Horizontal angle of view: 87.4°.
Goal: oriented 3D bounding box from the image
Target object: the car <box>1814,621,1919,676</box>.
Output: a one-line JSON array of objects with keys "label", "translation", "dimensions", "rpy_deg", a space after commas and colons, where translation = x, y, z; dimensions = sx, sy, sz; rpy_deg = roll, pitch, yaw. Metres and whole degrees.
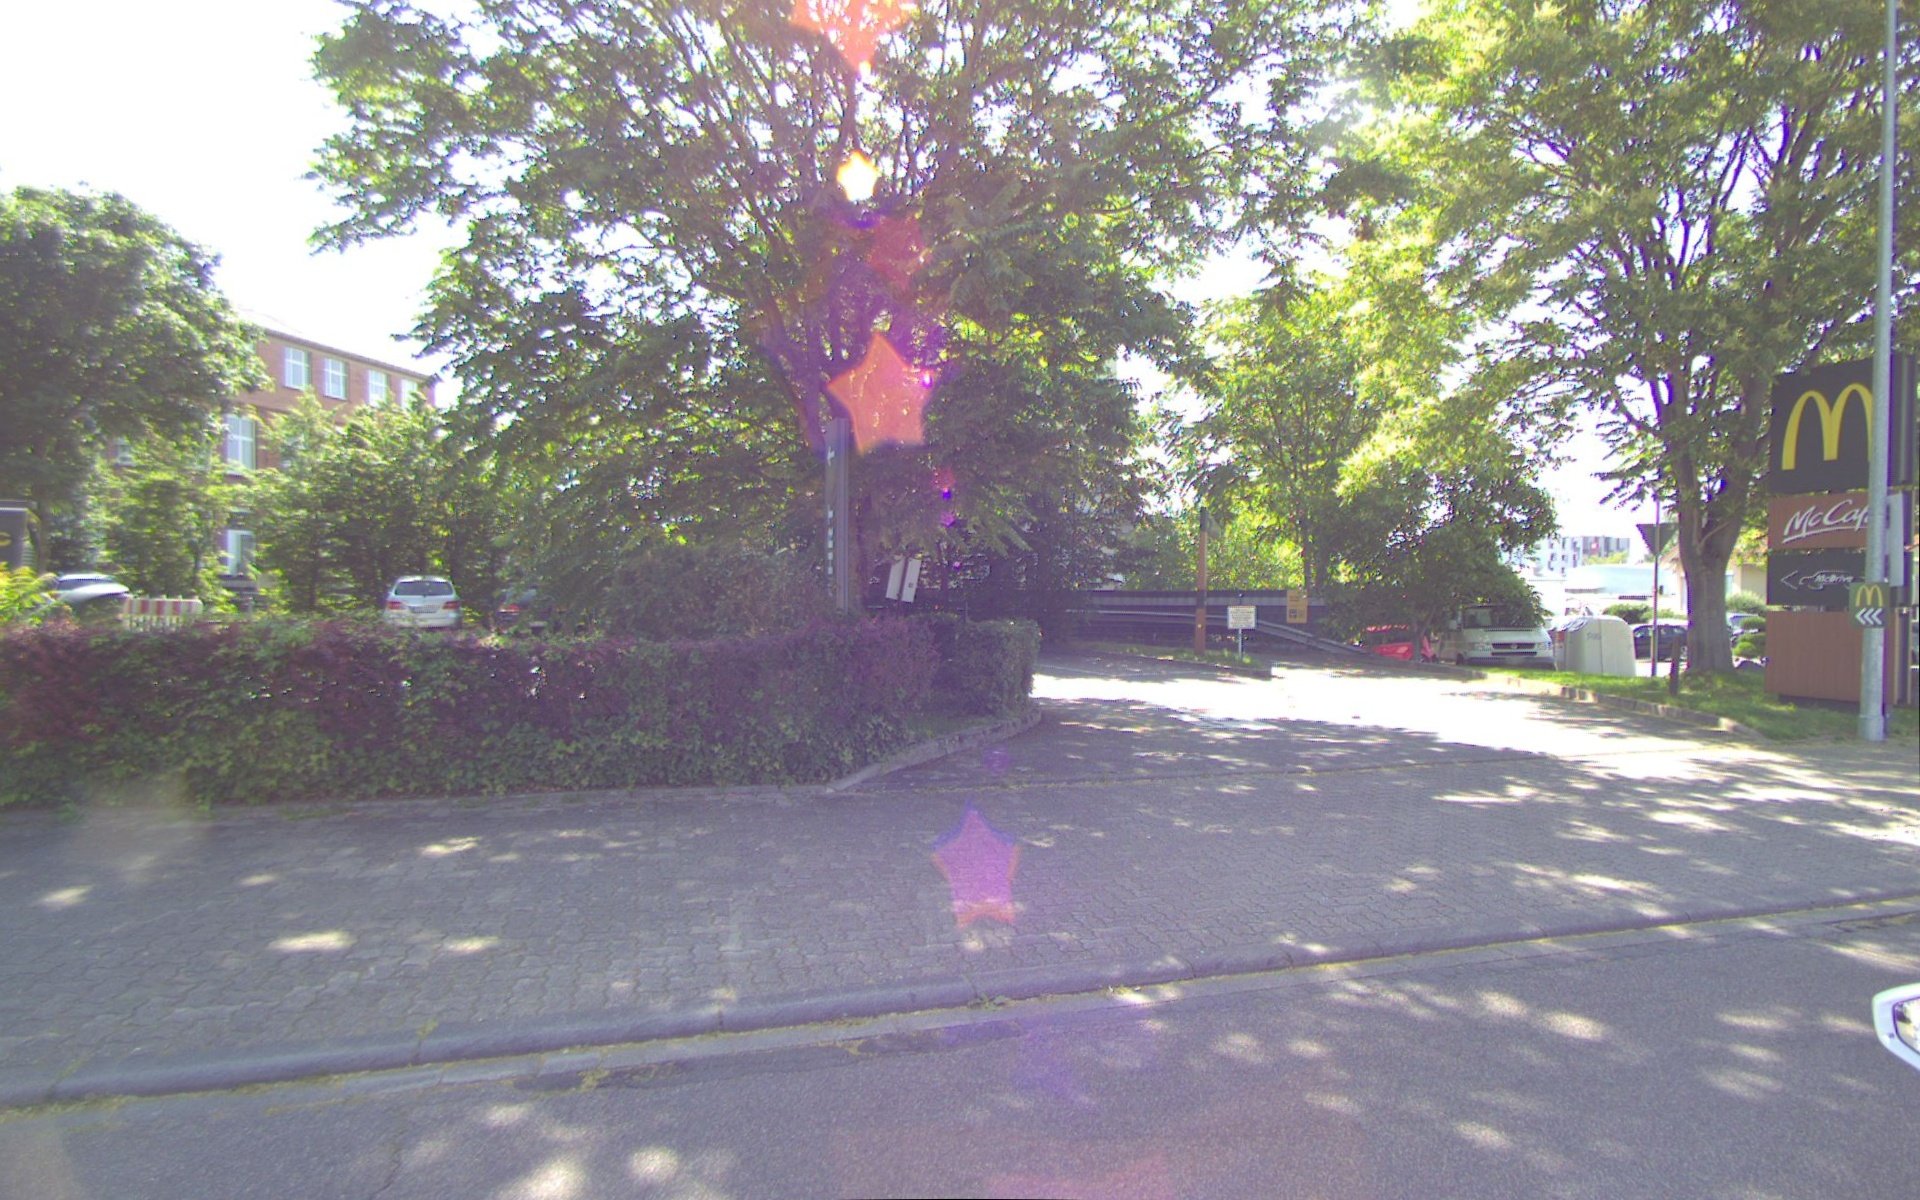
[{"label": "car", "translation": [28.234, 1.472, 30.634], "dimensions": [3.944, 1.530, 1.783], "rpy_deg": [2, 0, -24]}]

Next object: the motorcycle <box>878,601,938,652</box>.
[{"label": "motorcycle", "translation": [-1.272, 0.619, 24.268], "dimensions": [0.566, 1.185, 1.585], "rpy_deg": [-1, 1, -43]}]

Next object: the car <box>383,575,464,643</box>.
[{"label": "car", "translation": [-14.001, 0.173, 26.394], "dimensions": [1.751, 1.593, 3.972], "rpy_deg": [0, 2, -27]}]

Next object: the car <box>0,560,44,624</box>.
[{"label": "car", "translation": [-27.813, -0.259, 28.681], "dimensions": [1.755, 1.758, 3.963], "rpy_deg": [-2, 3, -33]}]

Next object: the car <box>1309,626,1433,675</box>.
[{"label": "car", "translation": [12.876, 1.560, 31.609], "dimensions": [3.345, 1.397, 1.487], "rpy_deg": [0, 2, 8]}]

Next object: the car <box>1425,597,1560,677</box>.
[{"label": "car", "translation": [12.561, 0.782, 24.033], "dimensions": [1.919, 1.604, 5.032], "rpy_deg": [2, 1, 17]}]

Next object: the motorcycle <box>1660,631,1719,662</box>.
[{"label": "motorcycle", "translation": [31.072, 1.979, 42.793], "dimensions": [1.837, 1.174, 0.790], "rpy_deg": [2, 1, 19]}]

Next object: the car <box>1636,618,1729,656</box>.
[{"label": "car", "translation": [34.758, 1.753, 48.445], "dimensions": [1.959, 1.606, 4.002], "rpy_deg": [2, 0, 8]}]

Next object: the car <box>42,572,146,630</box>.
[{"label": "car", "translation": [-24.361, -0.034, 28.396], "dimensions": [1.756, 1.495, 3.961], "rpy_deg": [-1, 2, -34]}]

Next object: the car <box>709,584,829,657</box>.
[{"label": "car", "translation": [-4.629, 0.414, 23.969], "dimensions": [1.641, 1.490, 3.872], "rpy_deg": [0, 3, -30]}]

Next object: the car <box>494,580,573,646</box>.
[{"label": "car", "translation": [-11.076, 0.267, 25.952], "dimensions": [1.750, 1.490, 3.974], "rpy_deg": [0, 2, -25]}]

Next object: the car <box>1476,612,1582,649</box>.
[{"label": "car", "translation": [30.653, 1.635, 54.180], "dimensions": [4.563, 1.748, 2.000], "rpy_deg": [2, 0, -1]}]

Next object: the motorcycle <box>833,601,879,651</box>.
[{"label": "motorcycle", "translation": [-2.578, 0.620, 24.760], "dimensions": [0.470, 1.156, 1.591], "rpy_deg": [0, 1, -33]}]

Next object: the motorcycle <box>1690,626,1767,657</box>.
[{"label": "motorcycle", "translation": [34.083, 1.825, 44.575], "dimensions": [2.665, 1.243, 0.999], "rpy_deg": [2, 1, -1]}]

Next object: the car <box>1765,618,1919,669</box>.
[{"label": "car", "translation": [32.029, 1.533, 36.279], "dimensions": [4.257, 1.606, 1.996], "rpy_deg": [2, 1, 30]}]

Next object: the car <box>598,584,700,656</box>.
[{"label": "car", "translation": [-7.499, 0.399, 24.005], "dimensions": [1.683, 1.473, 3.971], "rpy_deg": [0, 2, -27]}]
